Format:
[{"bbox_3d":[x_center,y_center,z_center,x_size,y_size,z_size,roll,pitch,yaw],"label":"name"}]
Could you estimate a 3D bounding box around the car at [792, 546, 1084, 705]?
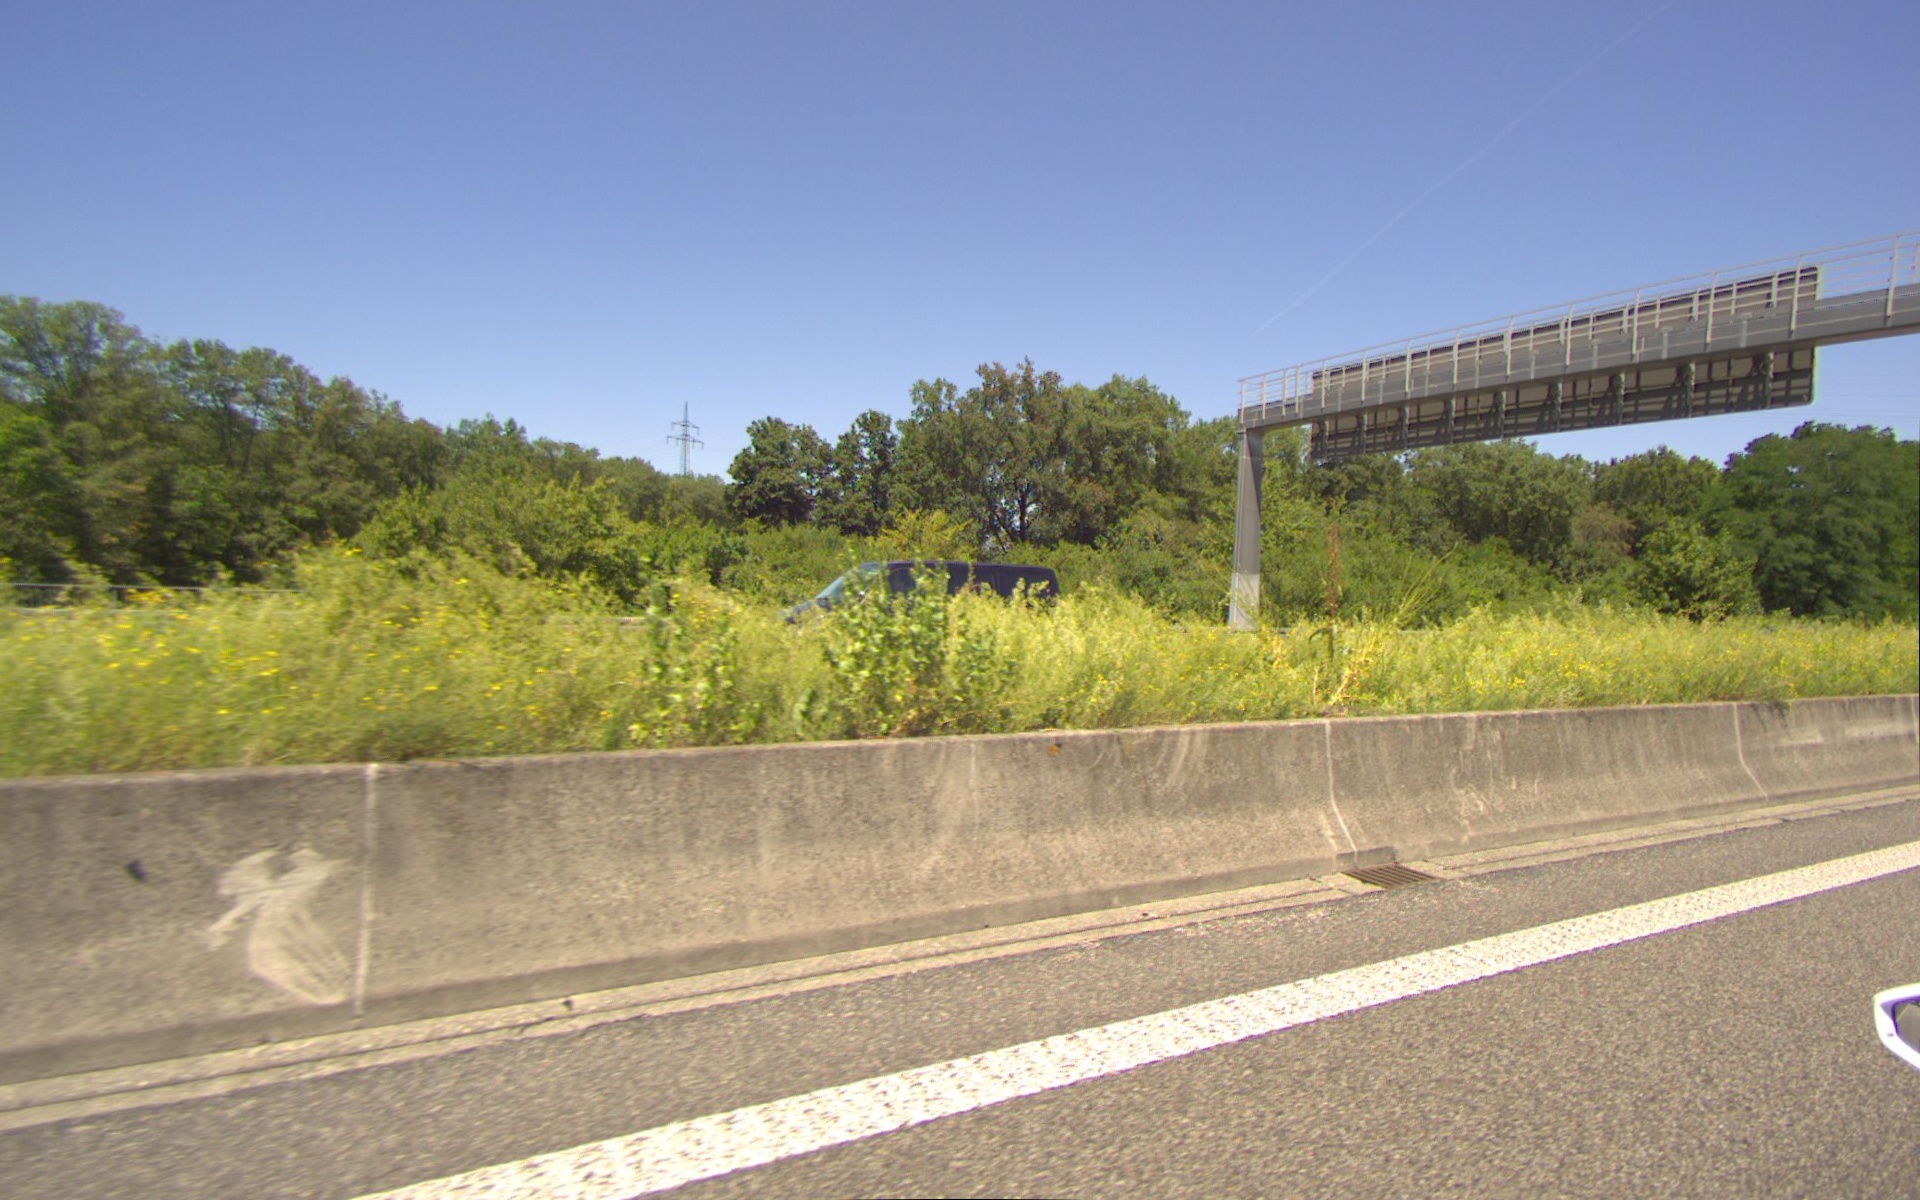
[{"bbox_3d":[-0.302,0.378,14.893,3.952,2.085,1.766,2,0,-28],"label":"car"}]
